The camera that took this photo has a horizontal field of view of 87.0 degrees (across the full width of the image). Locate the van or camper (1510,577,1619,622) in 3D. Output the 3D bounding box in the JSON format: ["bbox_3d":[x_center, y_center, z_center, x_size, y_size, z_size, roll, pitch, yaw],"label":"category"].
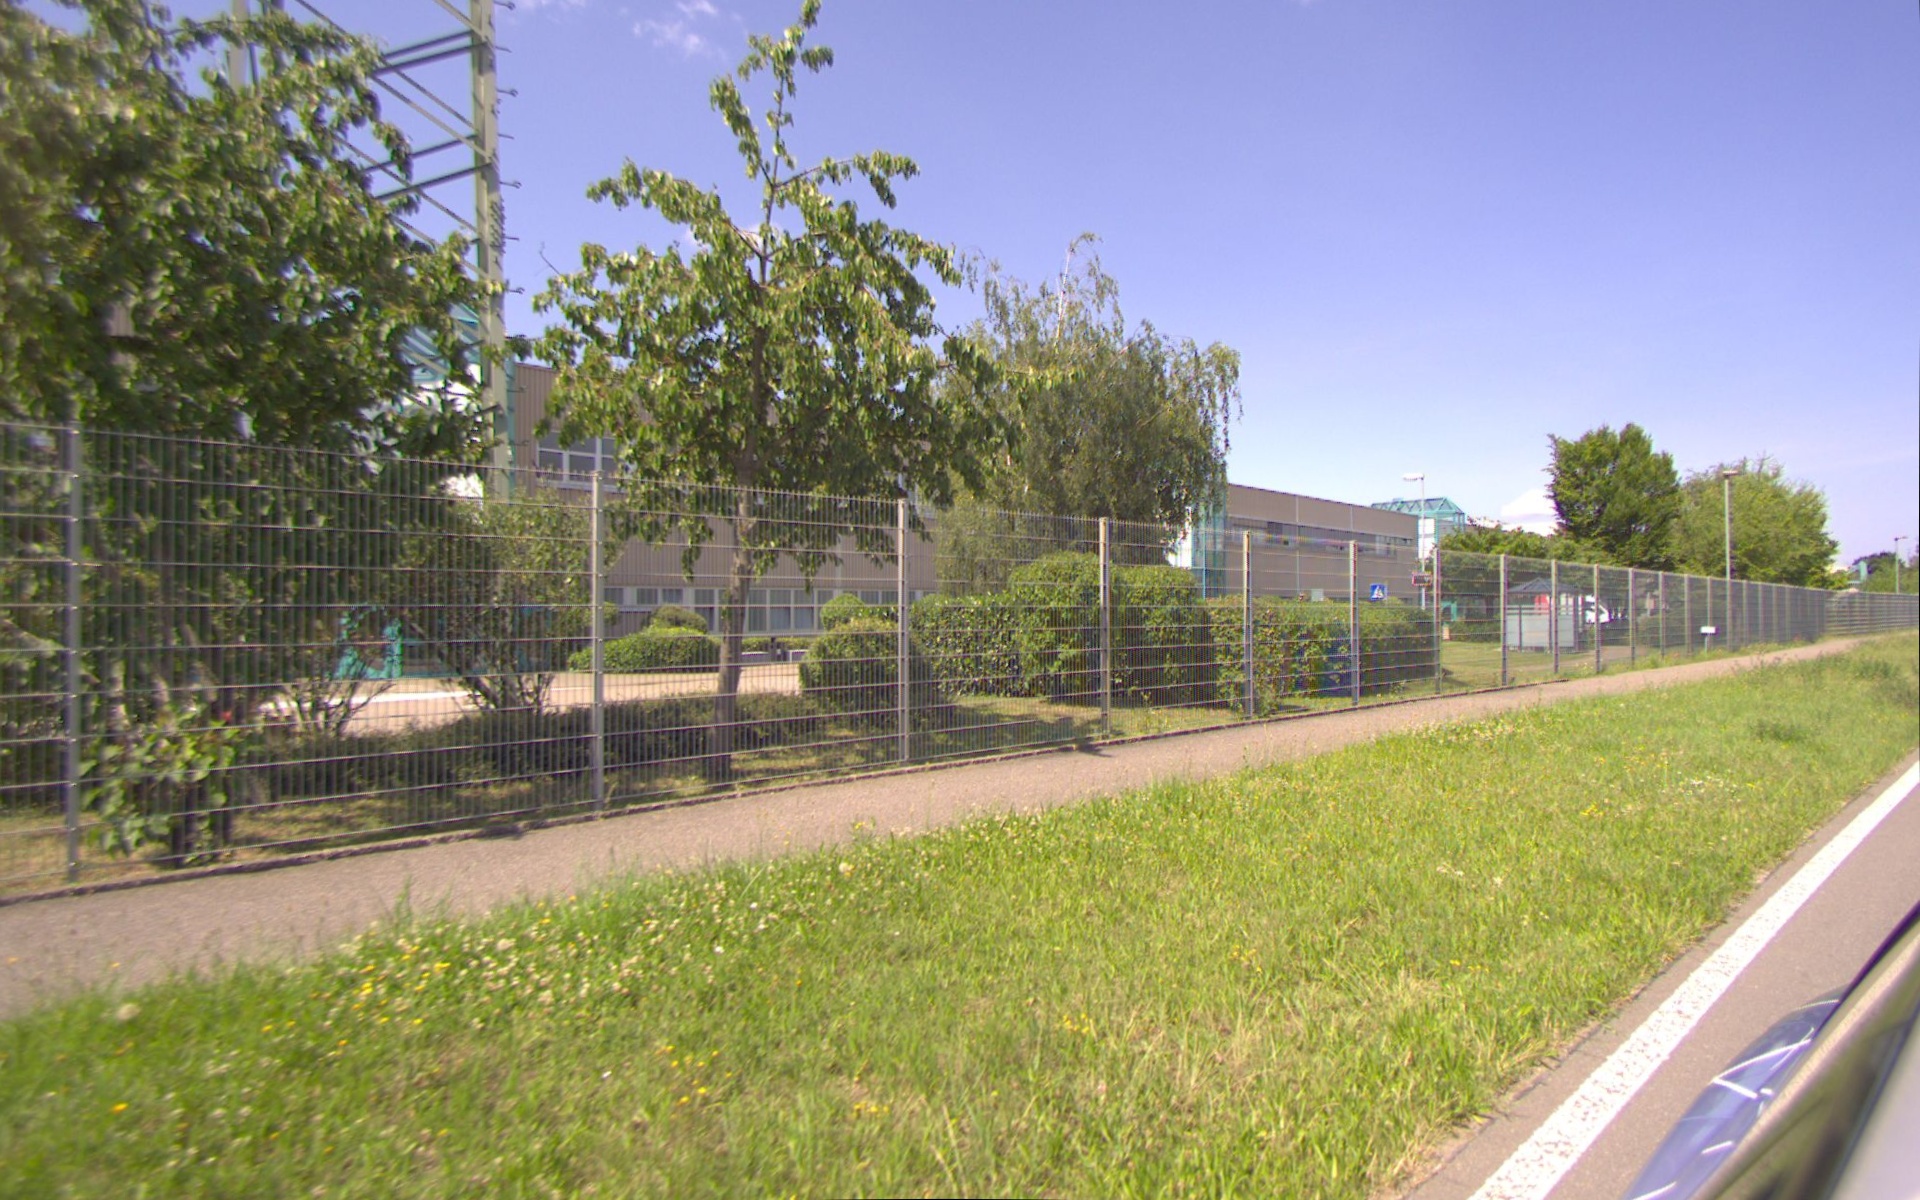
[{"bbox_3d":[39.785,0.017,66.740,5.768,2.551,1.968,-5,-4,44],"label":"van or camper"}]
